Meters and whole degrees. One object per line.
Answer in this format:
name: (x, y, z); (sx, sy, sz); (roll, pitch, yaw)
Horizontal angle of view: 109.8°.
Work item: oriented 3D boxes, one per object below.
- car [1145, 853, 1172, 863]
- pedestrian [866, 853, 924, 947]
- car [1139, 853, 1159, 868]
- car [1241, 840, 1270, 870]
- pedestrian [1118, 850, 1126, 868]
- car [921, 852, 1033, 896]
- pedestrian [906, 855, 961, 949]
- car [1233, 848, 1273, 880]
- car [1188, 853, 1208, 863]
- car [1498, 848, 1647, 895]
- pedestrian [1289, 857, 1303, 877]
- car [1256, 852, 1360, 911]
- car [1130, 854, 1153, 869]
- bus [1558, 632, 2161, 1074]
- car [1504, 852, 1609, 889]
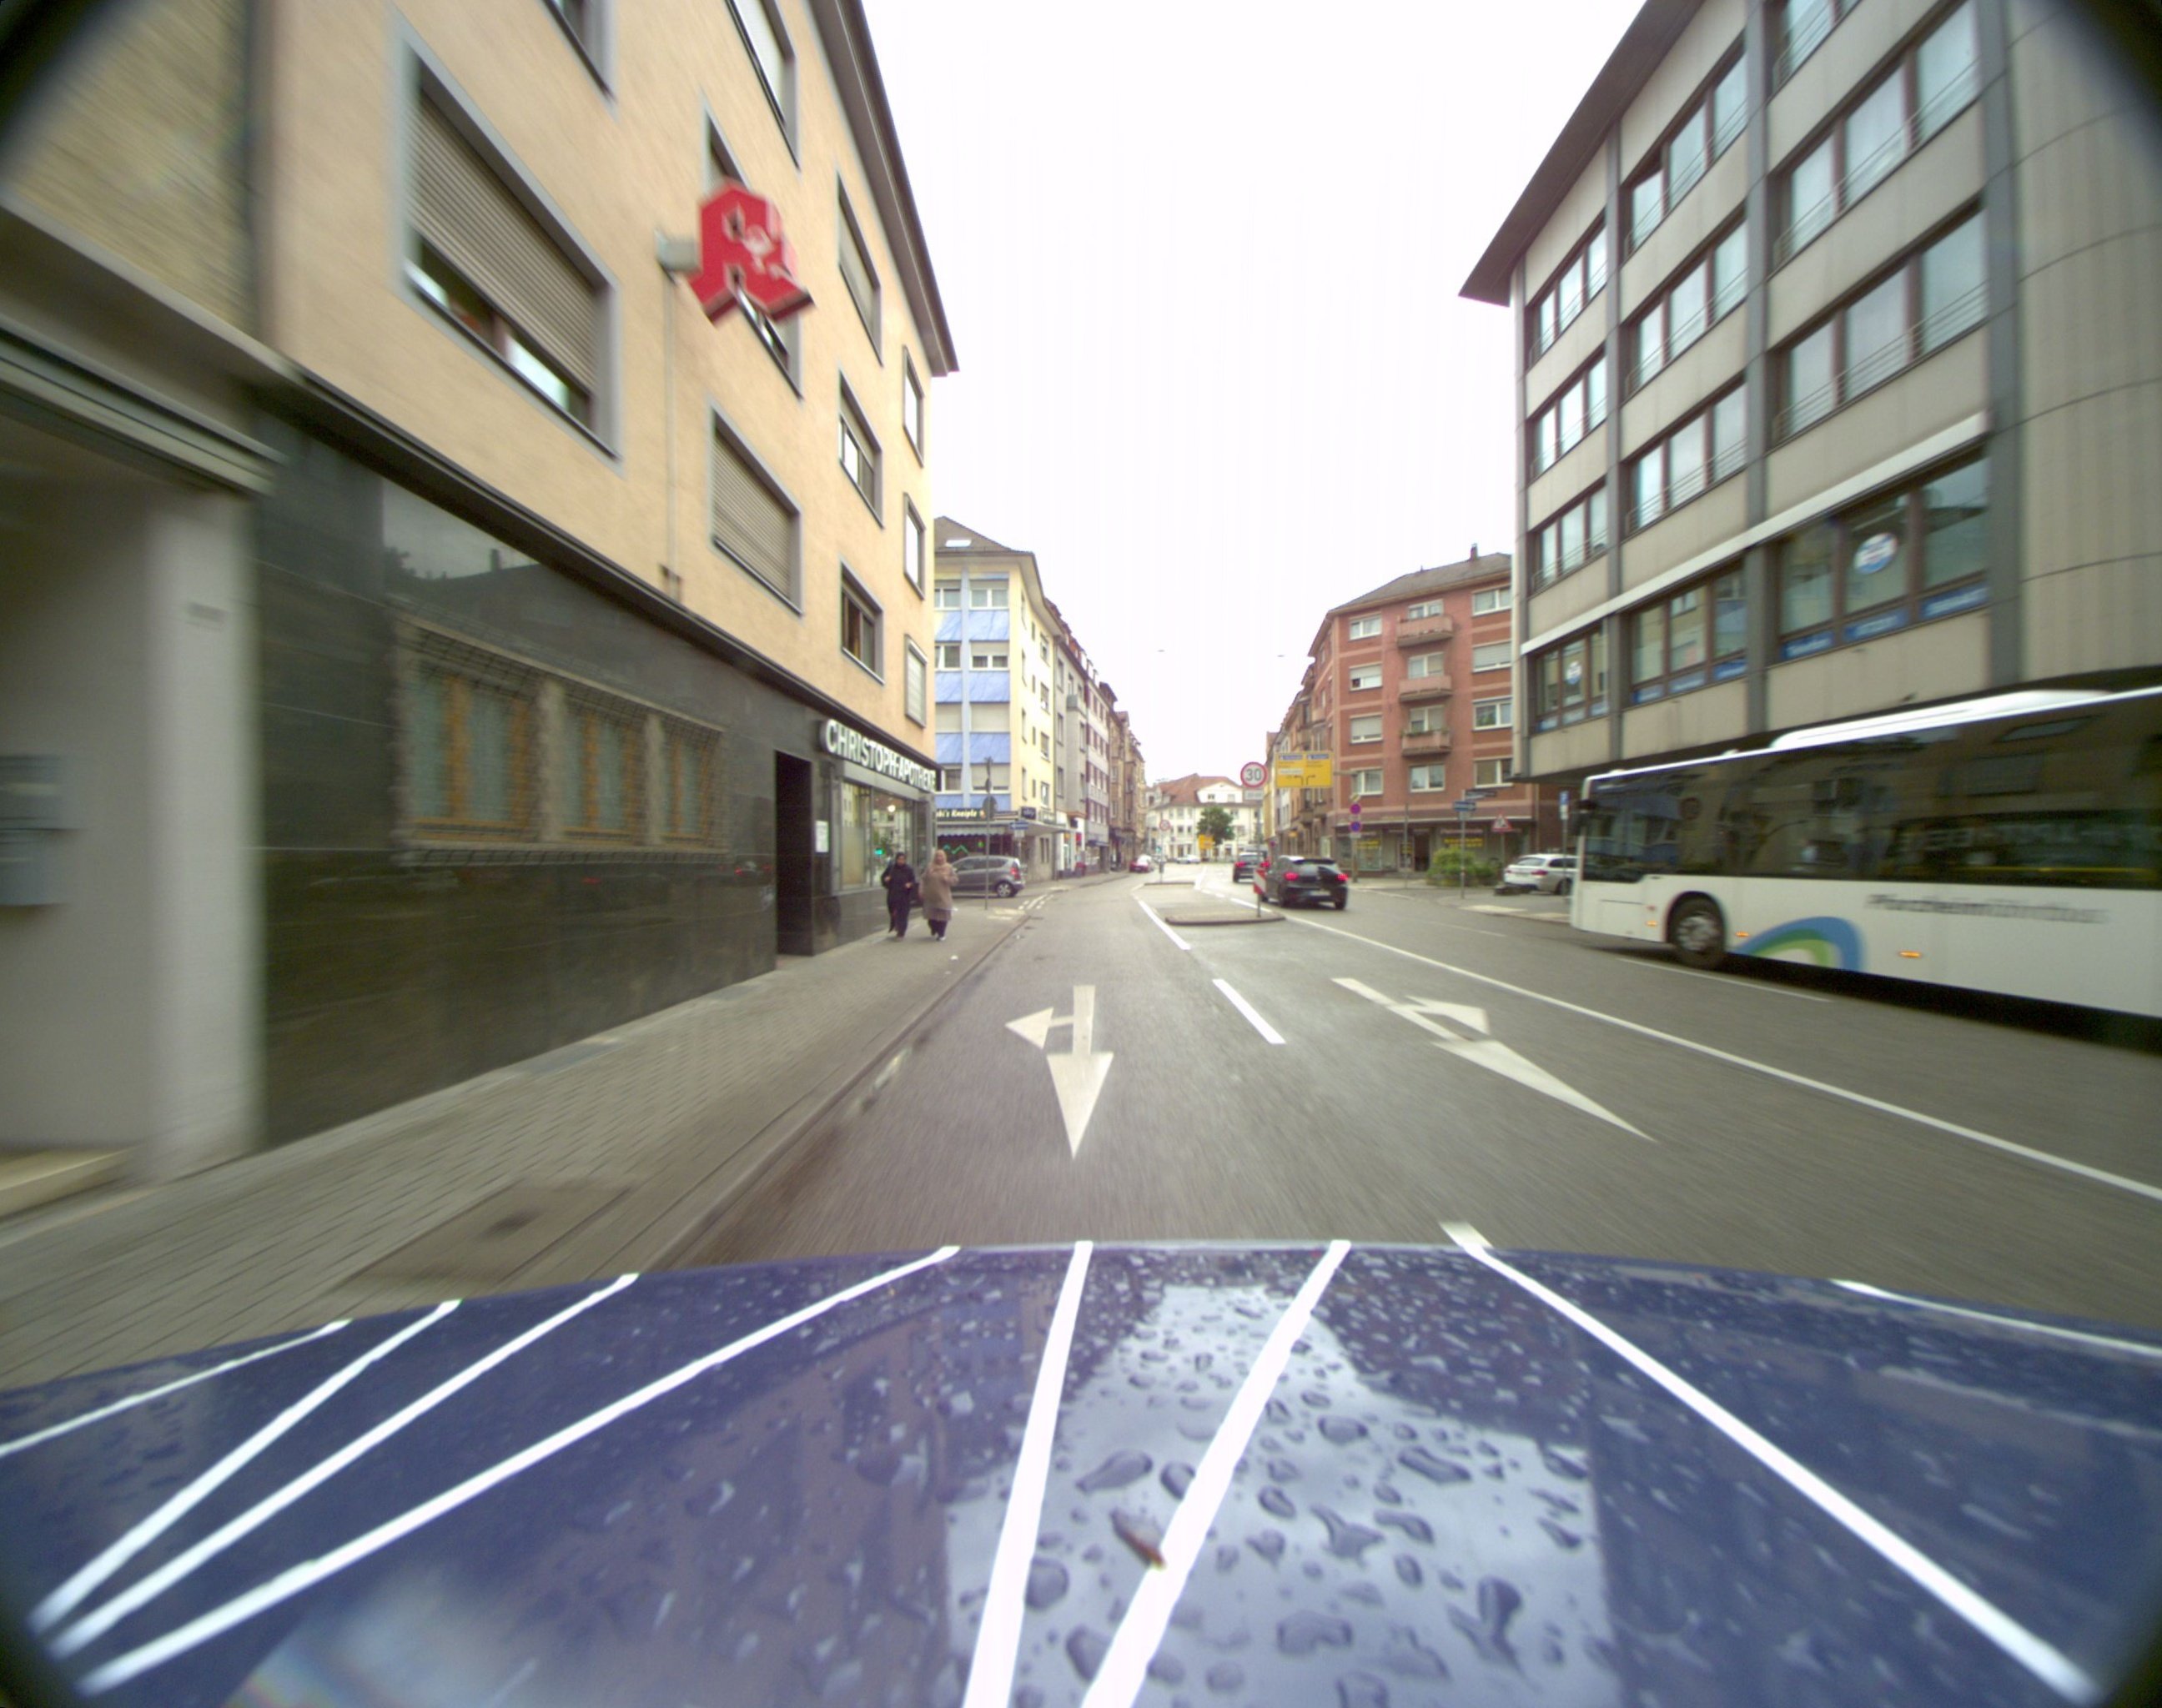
car: (13.466, 0.644, 131.982); (1.953, 1.574, 4.507); (-1, 1, -43)
pedestrian: (-3.174, 0.763, 13.047); (0.770, 1.551, 0.876); (0, 1, -1)
car: (7.190, 0.678, 79.889); (1.650, 1.485, 4.451); (0, 1, 10)
car: (14.890, 0.044, 65.191); (2.090, 2.421, 6.357); (0, 1, 9)
pedestrian: (3.907, 0.478, 72.460); (0.745, 1.769, 0.796); (0, 1, 7)
car: (-3.906, 0.736, 28.990); (3.833, 1.565, 1.937); (0, 1, 6)
pedestrian: (-2.515, 0.794, 13.044); (0.780, 1.551, 0.782); (0, 1, -1)
car: (9.174, 0.518, 40.877); (1.746, 1.652, 4.420); (0, 0, 8)
car: (18.708, 0.604, 121.713); (1.949, 1.462, 4.555); (-1, 1, -8)
car: (17.473, 0.579, 27.056); (4.647, 1.524, 1.903); (-1, 1, -17)
pedestrian: (18.236, 1.120, 64.486); (0.844, 1.669, 0.853); (-3, 1, -3)
car: (6.222, 0.681, 21.299); (1.713, 1.443, 4.085); (0, 1, 0)
car: (5.781, 0.675, 72.221); (1.747, 1.361, 4.318); (0, 0, 9)
bus: (9.186, -0.052, 8.073); (2.765, 3.170, 8.911); (0, 1, 1)
car: (20.419, 0.687, 32.688); (3.526, 1.474, 1.692); (-1, 1, -7)
